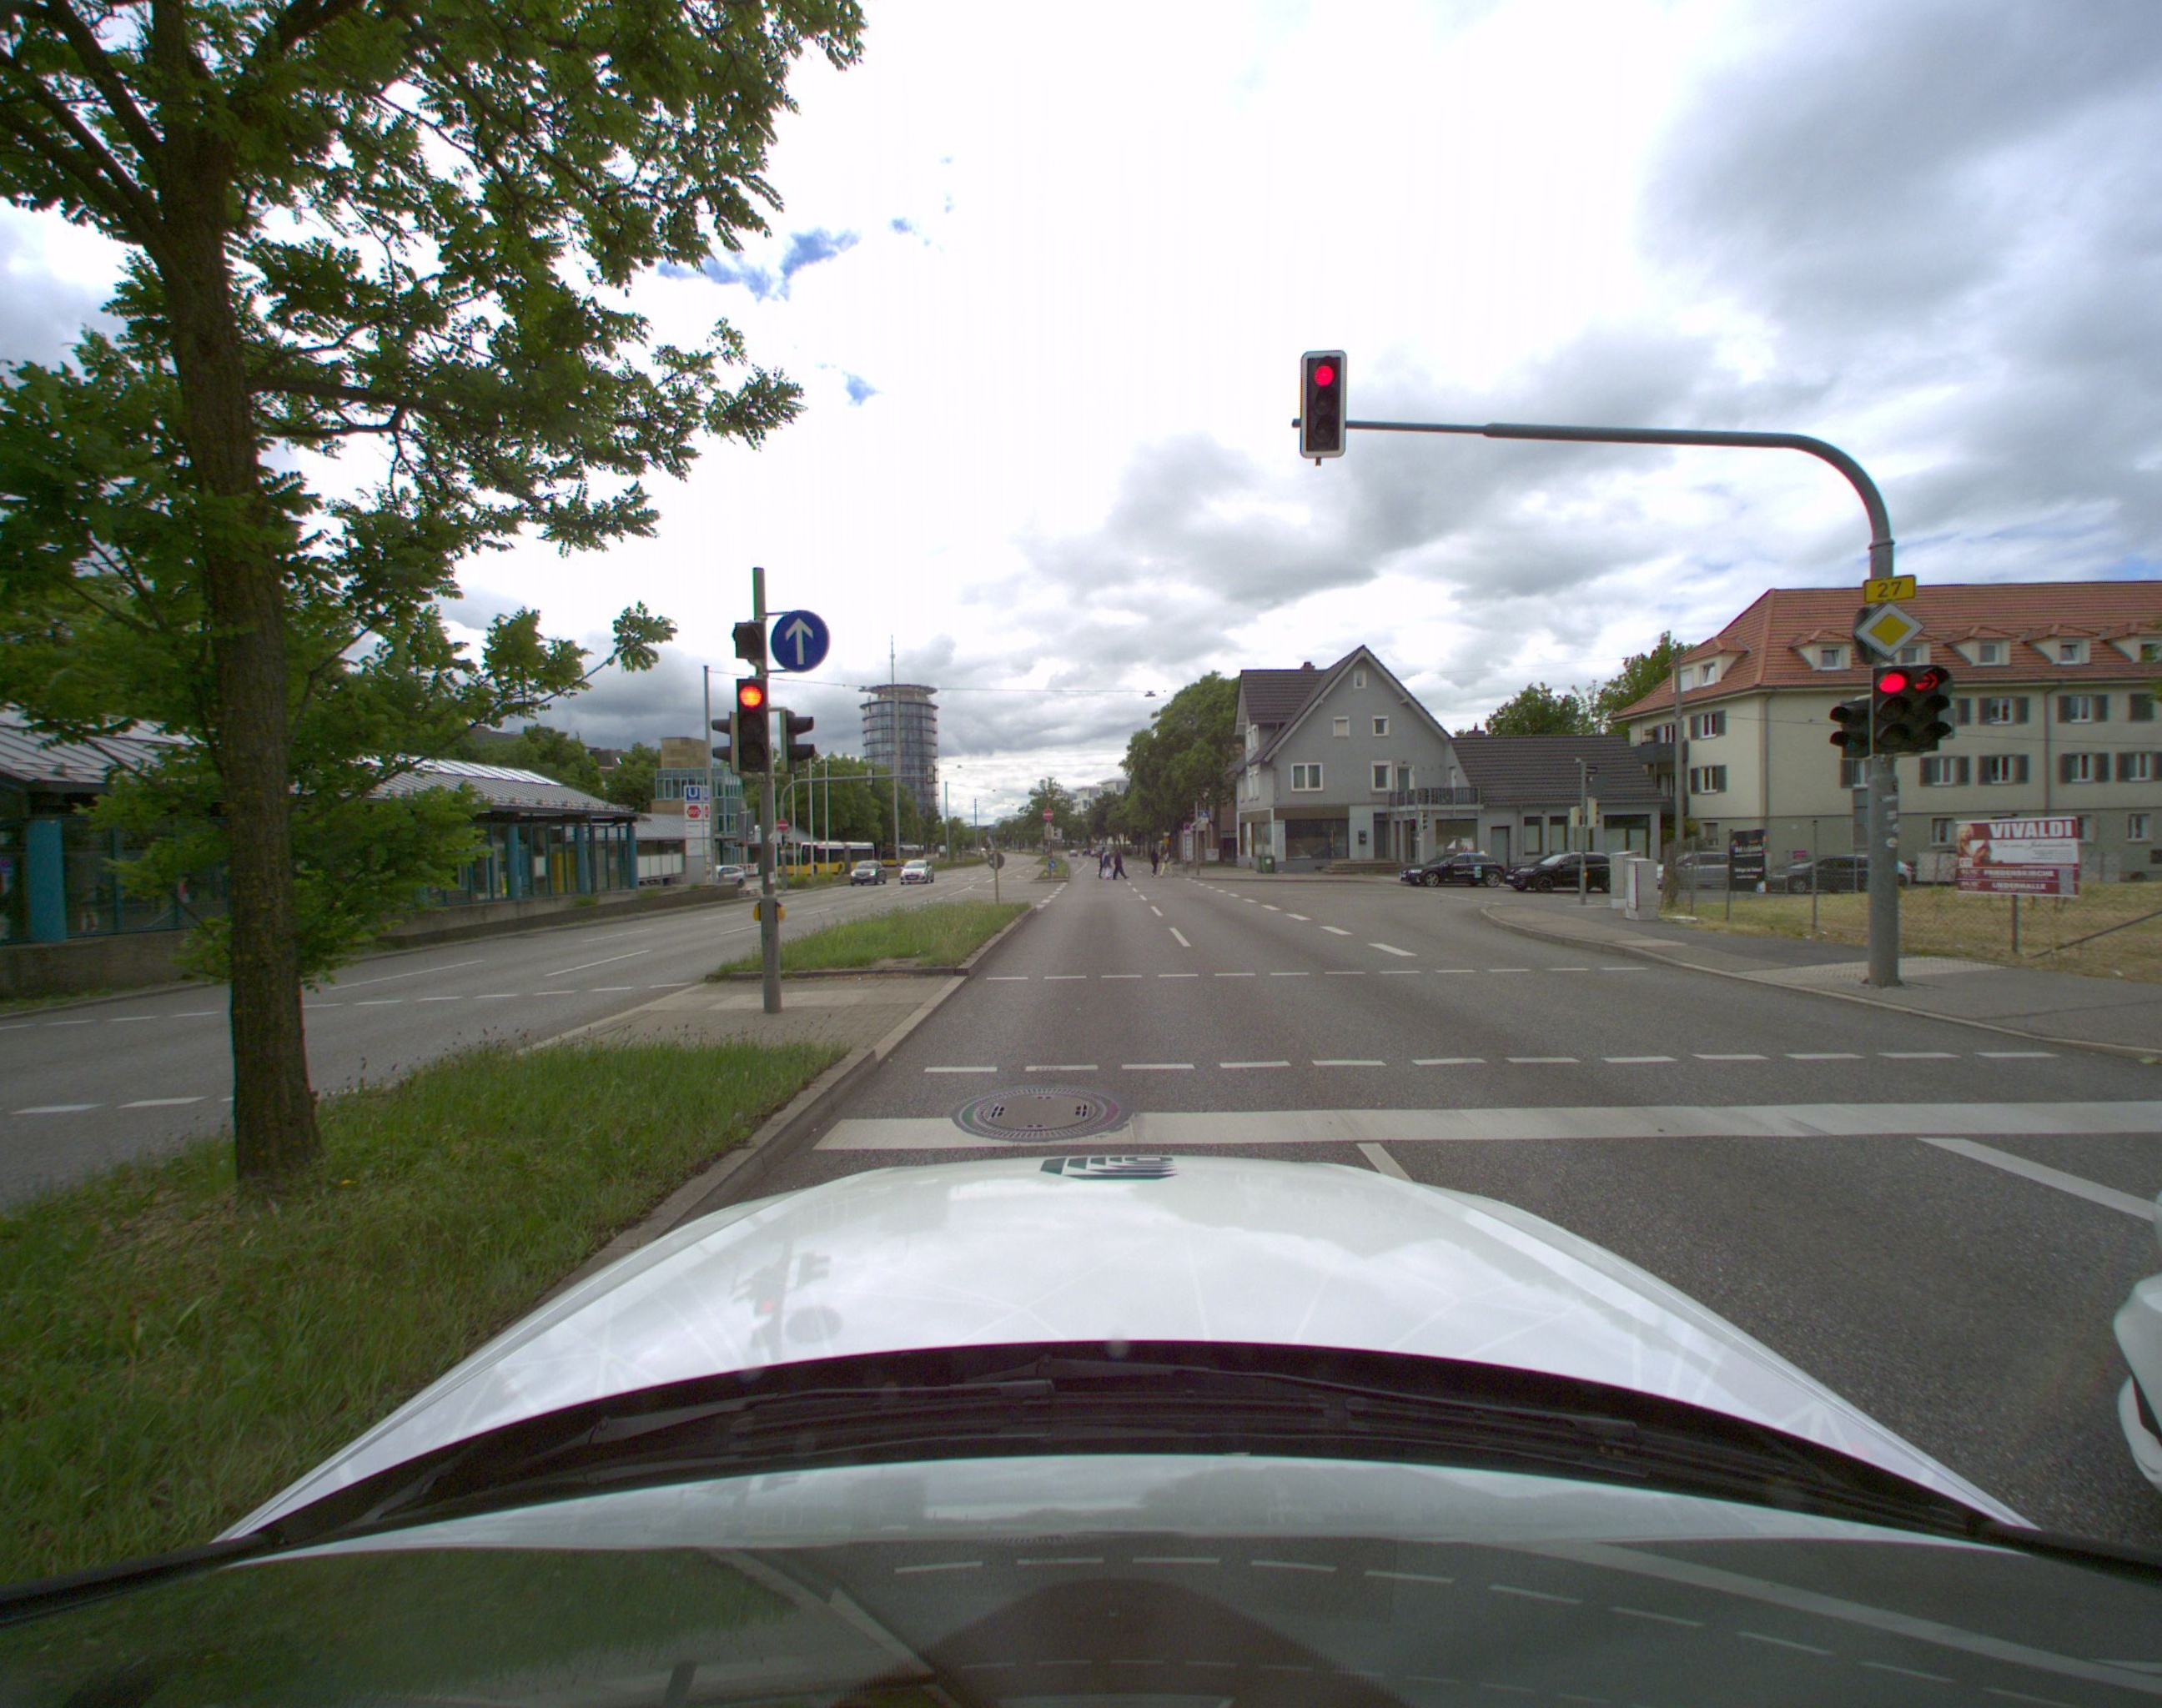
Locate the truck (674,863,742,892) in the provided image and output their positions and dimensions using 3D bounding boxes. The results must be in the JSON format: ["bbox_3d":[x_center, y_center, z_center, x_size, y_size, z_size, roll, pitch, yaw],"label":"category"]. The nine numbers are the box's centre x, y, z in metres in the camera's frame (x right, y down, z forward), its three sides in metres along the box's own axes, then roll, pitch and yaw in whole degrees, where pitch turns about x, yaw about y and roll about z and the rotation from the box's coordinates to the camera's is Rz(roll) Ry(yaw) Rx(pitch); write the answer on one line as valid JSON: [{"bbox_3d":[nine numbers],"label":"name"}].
[{"bbox_3d":[-21.744,1.342,47.689,1.986,1.517,4.001,-2,0,1],"label":"truck"}]

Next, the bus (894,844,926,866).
[{"bbox_3d":[-26.045,0.128,124.328,3.134,3.225,7.765,-2,0,0],"label":"bus"}]

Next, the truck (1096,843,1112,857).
[{"bbox_3d":[3.908,-0.677,140.259,2.246,2.416,4.928,-2,0,-3],"label":"truck"}]

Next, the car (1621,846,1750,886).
[{"bbox_3d":[25.356,0.493,34.251,4.088,1.540,1.828,-2,0,-1],"label":"car"}]

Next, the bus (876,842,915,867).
[{"bbox_3d":[-26.102,0.102,115.319,3.135,3.225,10.282,-2,0,0],"label":"bus"}]

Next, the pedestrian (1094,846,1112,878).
[{"bbox_3d":[1.260,0.471,46.505,0.866,1.780,0.706,-2,0,-7],"label":"pedestrian"}]

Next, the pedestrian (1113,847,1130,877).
[{"bbox_3d":[2.434,0.480,48.586,0.866,1.780,0.706,-2,0,-7],"label":"pedestrian"}]

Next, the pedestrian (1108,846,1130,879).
[{"bbox_3d":[2.089,0.464,44.834,1.048,1.760,0.706,-2,0,-8],"label":"pedestrian"}]

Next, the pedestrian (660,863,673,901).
[{"bbox_3d":[-17.559,1.189,34.502,0.420,1.591,0.353,-2,0,-28],"label":"pedestrian"}]

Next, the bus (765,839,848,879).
[{"bbox_3d":[-24.326,0.407,72.870,2.975,3.250,10.186,-2,0,6],"label":"bus"}]

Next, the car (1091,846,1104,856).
[{"bbox_3d":[3.074,-0.512,152.646,2.246,1.757,4.928,-2,0,-3],"label":"car"}]

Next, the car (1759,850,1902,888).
[{"bbox_3d":[32.116,0.634,34.995,4.224,1.478,2.002,1,-1,3],"label":"car"}]

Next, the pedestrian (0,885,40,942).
[{"bbox_3d":[-30.220,1.681,23.050,0.633,1.571,0.660,0,-1,-4],"label":"pedestrian"}]

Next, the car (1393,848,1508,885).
[{"bbox_3d":[15.611,0.526,34.551,4.072,1.494,1.895,0,0,0],"label":"car"}]

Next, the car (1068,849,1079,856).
[{"bbox_3d":[-1.519,-0.285,168.001,1.963,1.420,4.017,-2,0,-3],"label":"car"}]

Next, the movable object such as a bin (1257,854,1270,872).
[{"bbox_3d":[10.039,0.491,44.753,0.527,0.979,0.737,-2,0,2],"label":"movable object such as a bin"}]

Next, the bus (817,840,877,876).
[{"bbox_3d":[-23.355,0.374,81.869,2.975,3.270,7.889,-2,0,6],"label":"bus"}]

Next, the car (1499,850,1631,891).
[{"bbox_3d":[18.545,0.620,31.315,4.049,1.521,1.839,1,0,-3],"label":"car"}]

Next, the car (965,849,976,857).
[{"bbox_3d":[-27.275,-0.167,201.219,1.958,2.014,4.001,0,-1,2],"label":"car"}]

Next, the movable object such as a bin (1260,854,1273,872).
[{"bbox_3d":[10.032,0.479,43.962,0.527,0.979,0.737,-2,0,2],"label":"movable object such as a bin"}]

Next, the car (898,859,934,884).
[{"bbox_3d":[-10.340,1.059,51.325,1.680,1.462,3.552,-2,0,-3],"label":"car"}]

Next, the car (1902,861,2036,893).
[{"bbox_3d":[39.813,1.023,36.586,3.972,1.377,1.871,0,0,2],"label":"car"}]

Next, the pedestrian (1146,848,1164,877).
[{"bbox_3d":[4.311,0.470,47.747,0.866,1.662,0.706,-2,0,-7],"label":"pedestrian"}]

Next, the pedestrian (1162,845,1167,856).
[{"bbox_3d":[12.377,-0.529,121.039,0.649,1.570,0.669,-2,0,-6],"label":"pedestrian"}]

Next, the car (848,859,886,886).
[{"bbox_3d":[-13.493,1.150,51.536,1.681,1.578,3.344,-2,0,-4],"label":"car"}]

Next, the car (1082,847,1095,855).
[{"bbox_3d":[1.524,-0.563,171.011,2.246,1.647,4.927,-2,0,-3],"label":"car"}]

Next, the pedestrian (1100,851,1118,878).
[{"bbox_3d":[1.545,0.578,45.703,0.866,1.507,0.706,-2,0,-7],"label":"pedestrian"}]

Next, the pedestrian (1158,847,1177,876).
[{"bbox_3d":[4.996,0.440,47.022,0.866,1.662,0.706,-2,0,-7],"label":"pedestrian"}]
